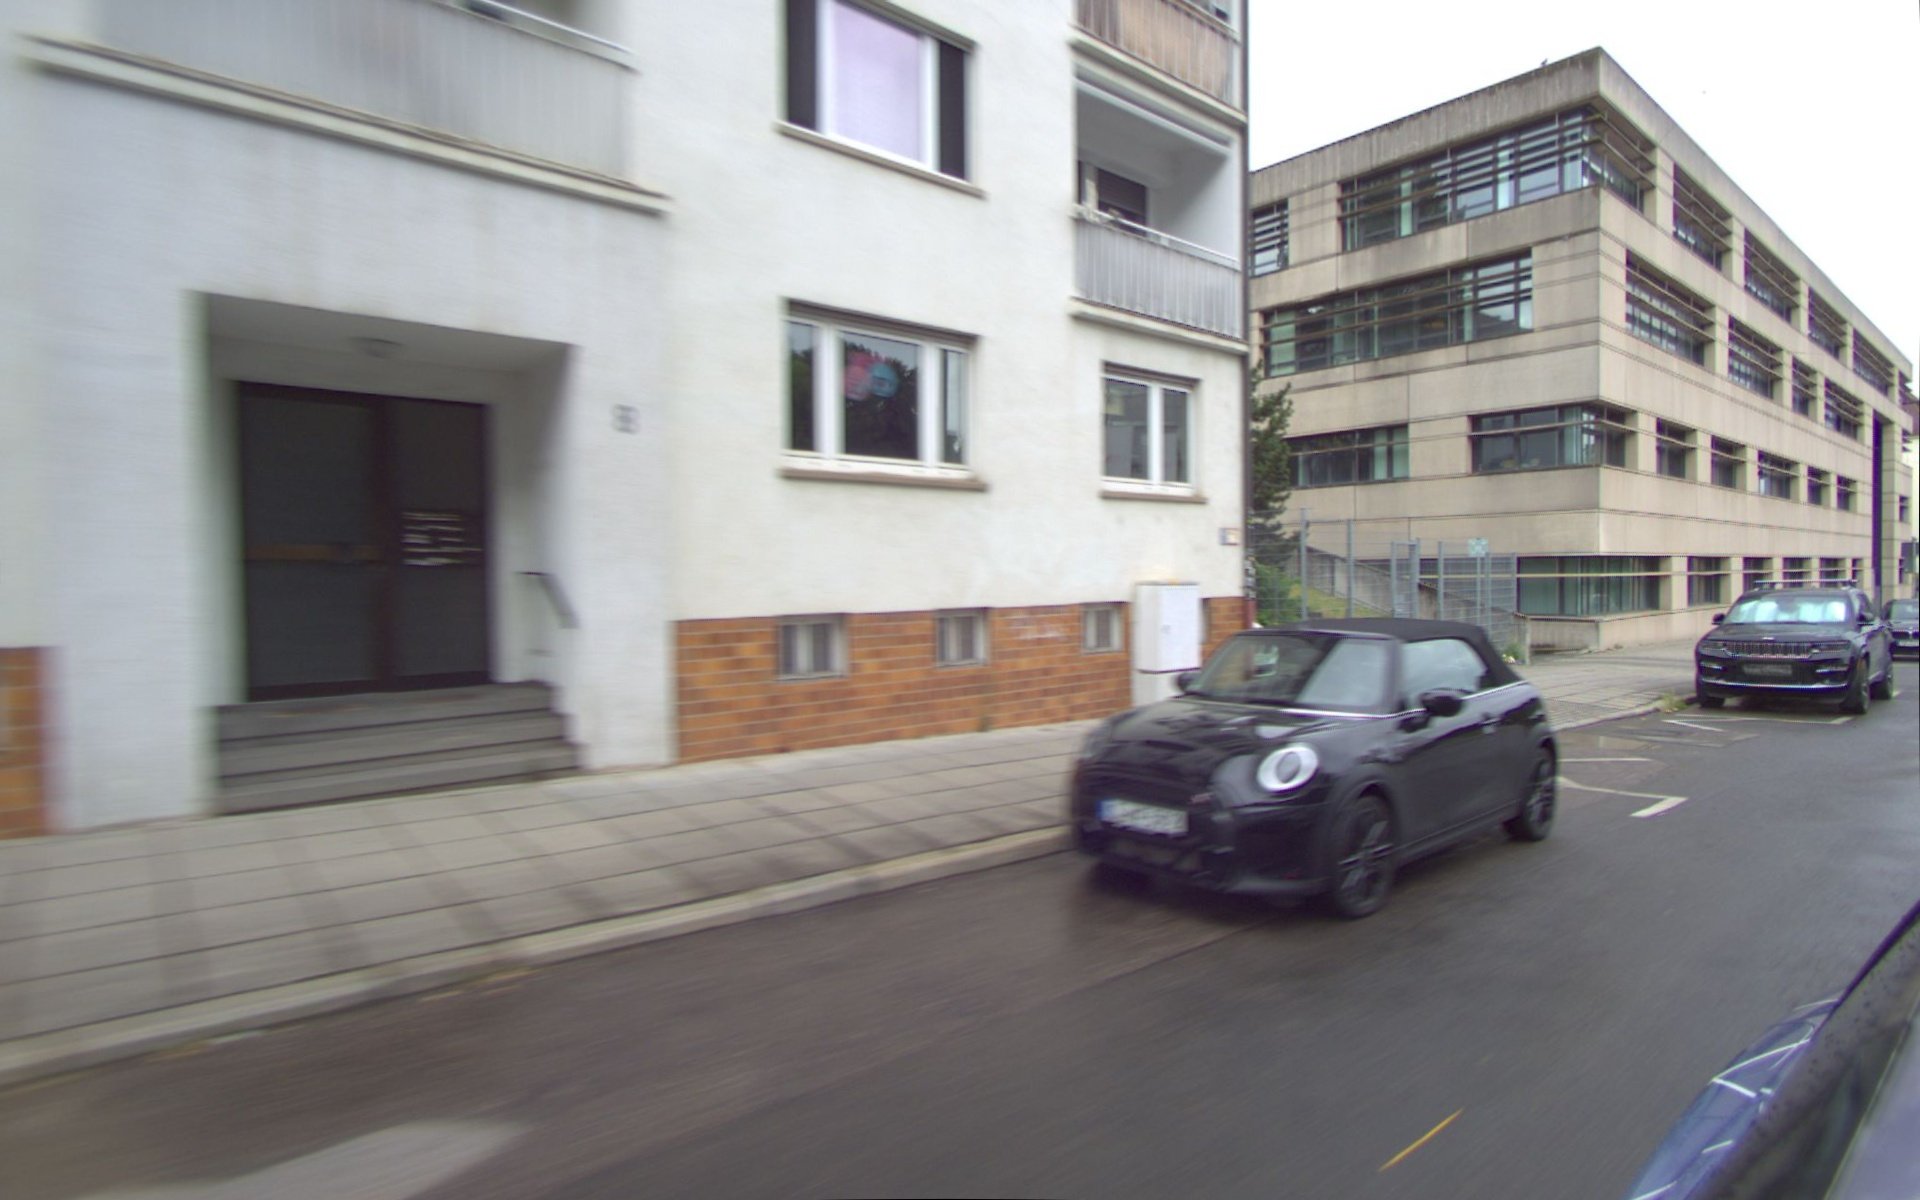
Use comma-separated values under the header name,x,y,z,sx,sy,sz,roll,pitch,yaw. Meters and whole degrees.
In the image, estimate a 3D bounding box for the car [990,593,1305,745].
name,x,y,z,sx,sy,sz,roll,pitch,yaw
car,2.649,0.872,15.219,1.872,1.733,4.448,0,3,-41

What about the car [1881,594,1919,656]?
name,x,y,z,sx,sy,sz,roll,pitch,yaw
car,25.782,0.629,26.742,4.245,1.553,1.745,0,-1,-42

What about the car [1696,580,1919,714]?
name,x,y,z,sx,sy,sz,roll,pitch,yaw
car,13.258,0.632,15.733,4.713,1.772,1.938,0,-1,-41

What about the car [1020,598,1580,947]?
name,x,y,z,sx,sy,sz,roll,pitch,yaw
car,2.272,0.750,6.279,3.699,1.478,1.675,-1,0,-41
